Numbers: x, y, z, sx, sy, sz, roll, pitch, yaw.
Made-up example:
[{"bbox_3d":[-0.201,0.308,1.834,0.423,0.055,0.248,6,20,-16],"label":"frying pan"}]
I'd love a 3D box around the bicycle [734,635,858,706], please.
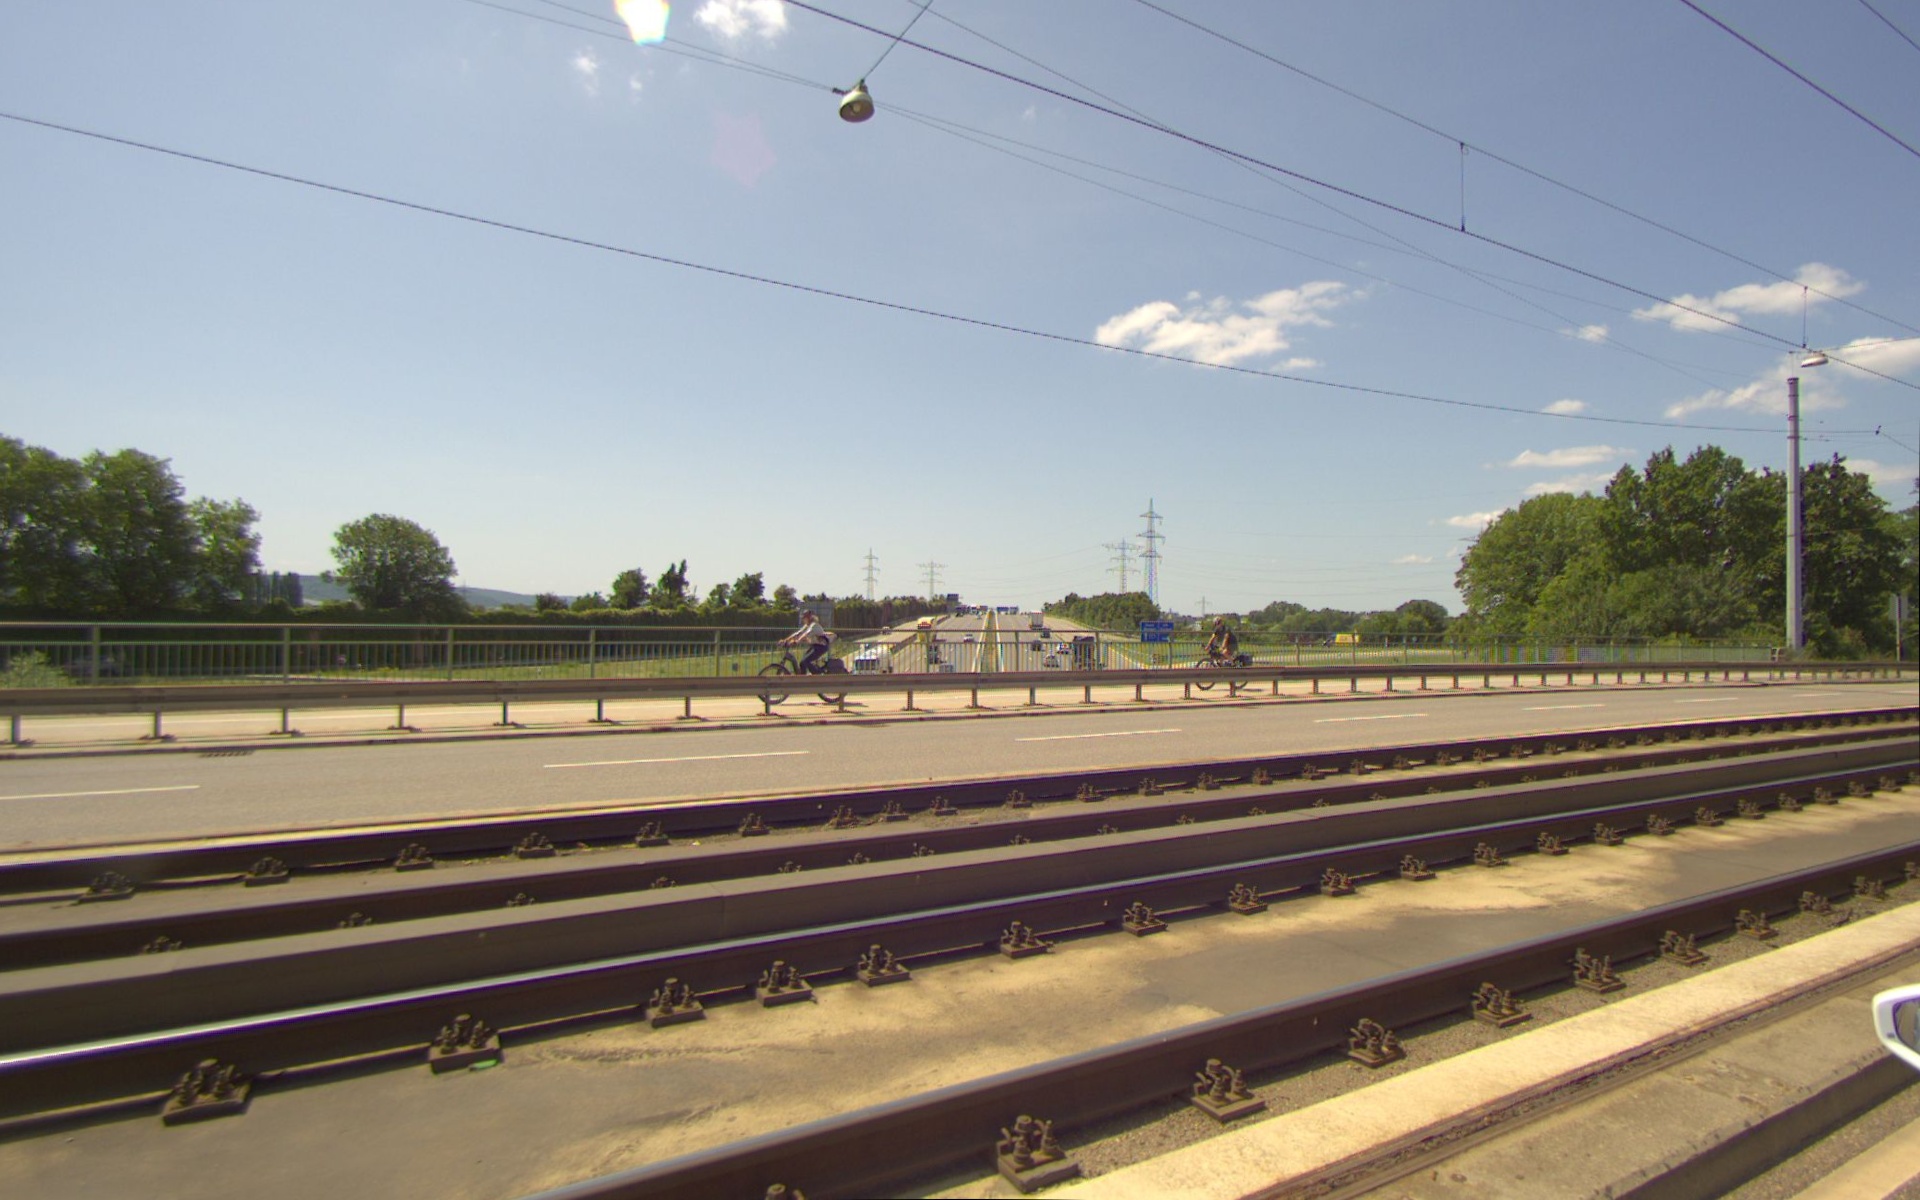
[{"bbox_3d":[-2.980,1.258,18.306,2.038,1.201,0.852,1,0,-31],"label":"bicycle"}]

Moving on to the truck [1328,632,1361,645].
[{"bbox_3d":[62.398,6.213,163.148,4.723,1.792,1.945,1,1,35],"label":"truck"}]

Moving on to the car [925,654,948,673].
[{"bbox_3d":[-2.899,7.865,125.365,2.069,2.040,5.399,1,0,6],"label":"car"}]

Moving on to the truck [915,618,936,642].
[{"bbox_3d":[-5.956,5.144,175.622,2.588,3.811,16.555,1,0,1],"label":"truck"}]

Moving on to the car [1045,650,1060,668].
[{"bbox_3d":[11.003,7.005,119.187,1.564,1.665,4.001,3,3,7],"label":"car"}]

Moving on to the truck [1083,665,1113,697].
[{"bbox_3d":[13.771,8.043,100.605,2.835,2.239,6.451,3,3,7],"label":"truck"}]

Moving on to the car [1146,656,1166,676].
[{"bbox_3d":[25.171,8.463,128.952,1.960,2.041,4.001,3,2,5],"label":"car"}]

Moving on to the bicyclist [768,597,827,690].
[{"bbox_3d":[-2.973,0.779,18.327,0.828,1.643,0.759,1,0,-30],"label":"bicyclist"}]

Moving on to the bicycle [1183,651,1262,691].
[{"bbox_3d":[6.193,1.660,23.626,2.012,0.854,0.520,1,1,-31],"label":"bicycle"}]

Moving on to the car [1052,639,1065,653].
[{"bbox_3d":[14.559,6.747,147.971,1.705,1.665,4.001,3,3,7],"label":"car"}]

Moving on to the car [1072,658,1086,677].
[{"bbox_3d":[13.123,7.415,111.036,1.440,1.665,3.458,3,3,7],"label":"car"}]

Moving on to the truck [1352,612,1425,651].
[{"bbox_3d":[70.922,5.167,166.377,10.615,5.714,3.289,3,3,28],"label":"truck"}]

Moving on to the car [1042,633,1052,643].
[{"bbox_3d":[16.901,7.361,194.782,1.896,1.665,4.001,3,3,6],"label":"car"}]

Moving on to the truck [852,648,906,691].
[{"bbox_3d":[-7.820,6.719,99.044,2.693,3.268,13.735,1,0,6],"label":"truck"}]

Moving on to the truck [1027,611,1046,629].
[{"bbox_3d":[17.703,4.654,232.822,3.593,3.756,8.197,1,2,-1],"label":"truck"}]

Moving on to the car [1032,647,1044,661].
[{"bbox_3d":[11.768,8.122,151.957,1.705,1.664,4.000,3,3,3],"label":"car"}]

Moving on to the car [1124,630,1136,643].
[{"bbox_3d":[26.949,5.813,159.226,1.705,1.665,4.001,3,3,10],"label":"car"}]

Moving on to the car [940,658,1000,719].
[{"bbox_3d":[1.415,9.108,107.539,4.919,4.547,22.467,1,0,4],"label":"car"}]

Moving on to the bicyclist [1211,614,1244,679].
[{"bbox_3d":[6.302,1.086,23.676,0.524,1.517,0.518,1,0,-31],"label":"bicyclist"}]

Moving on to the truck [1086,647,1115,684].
[{"bbox_3d":[16.055,7.488,115.335,2.735,3.499,6.587,3,2,5],"label":"truck"}]

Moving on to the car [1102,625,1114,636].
[{"bbox_3d":[27.900,5.757,189.104,1.706,1.665,3.999,3,3,1],"label":"car"}]
